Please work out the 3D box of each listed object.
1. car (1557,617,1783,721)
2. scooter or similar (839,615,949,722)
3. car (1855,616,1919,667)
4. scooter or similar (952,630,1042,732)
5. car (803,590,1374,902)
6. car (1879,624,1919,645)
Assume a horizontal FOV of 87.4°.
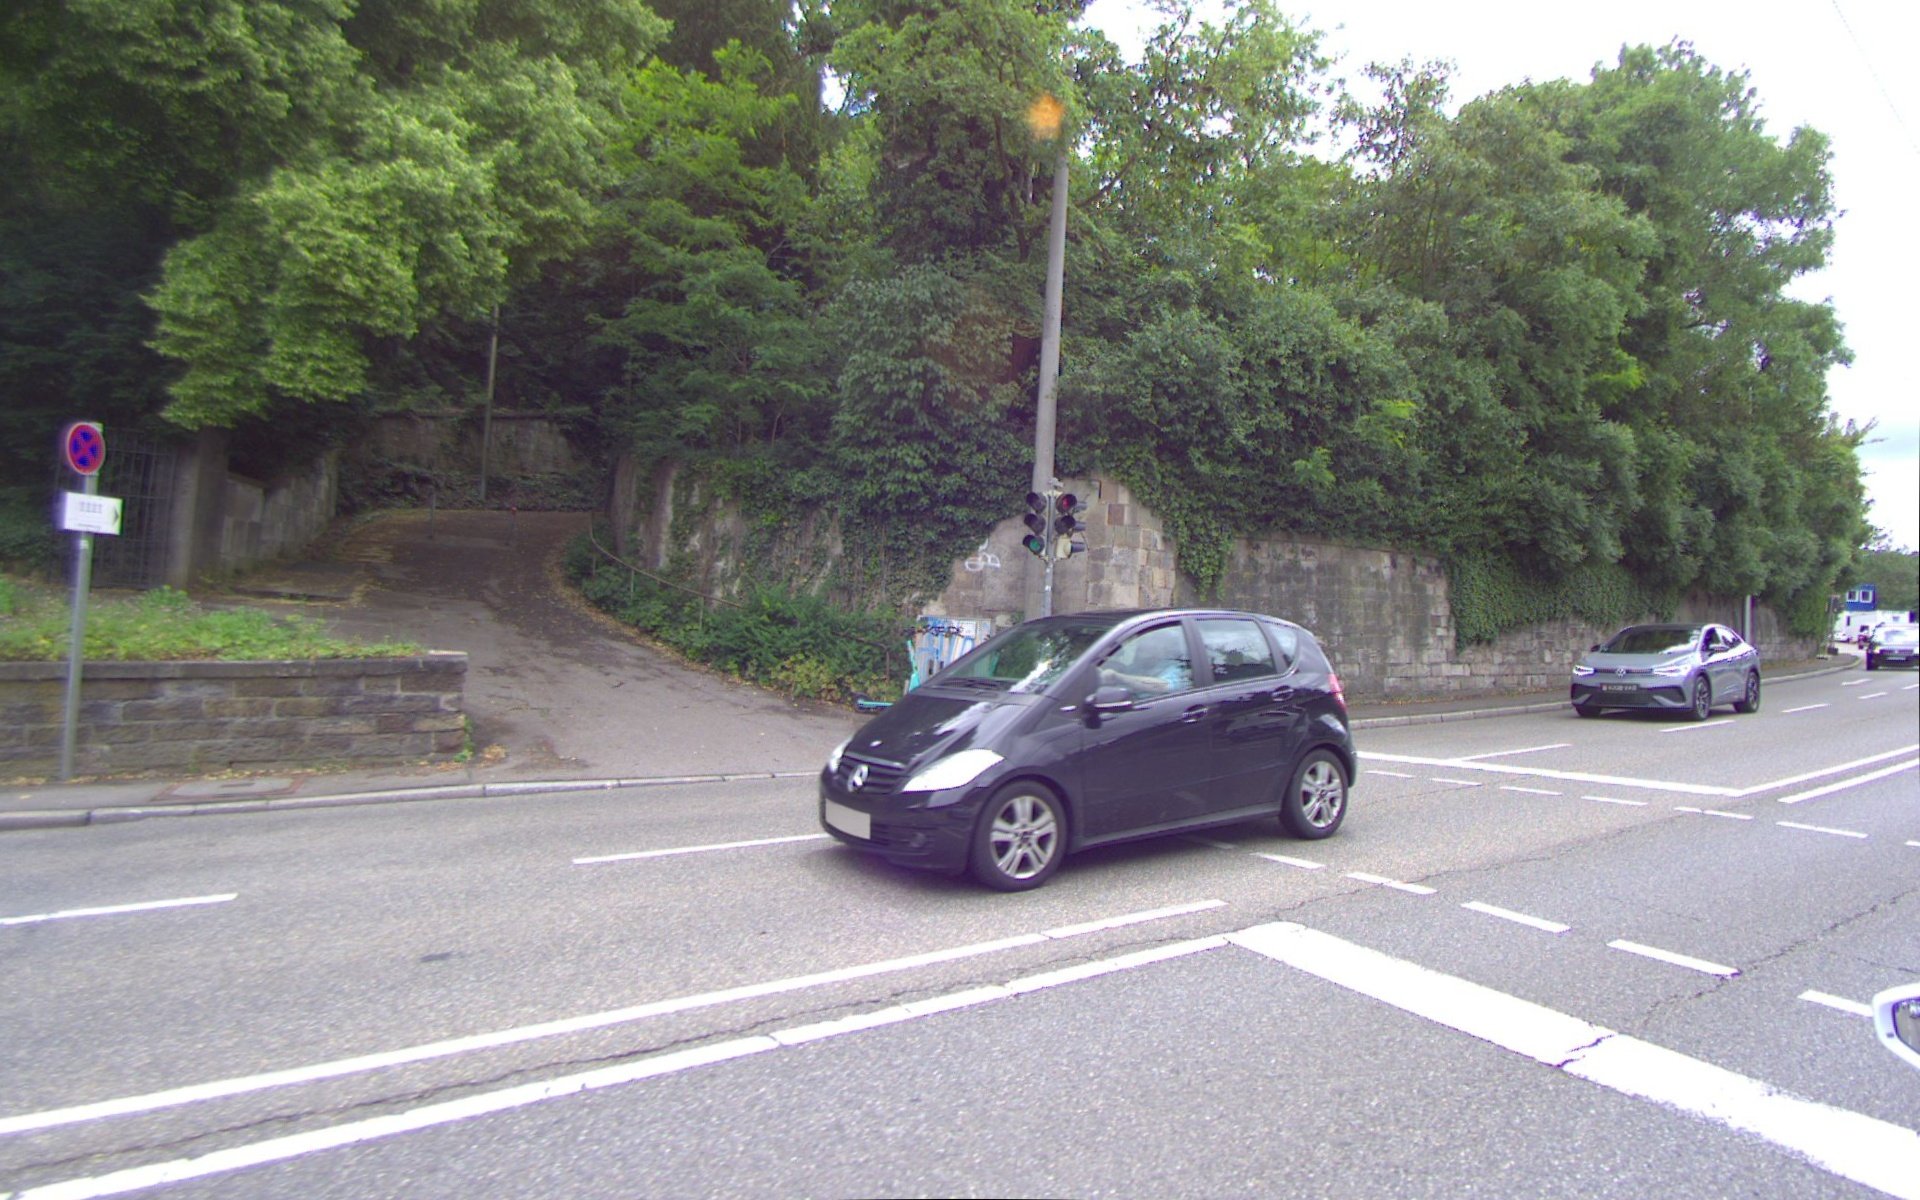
[{"bbox_3d":[12.682,1.173,17.868,4.434,1.629,1.980,2,-3,-37],"label":"car"},{"bbox_3d":[-0.913,0.940,13.985,1.323,1.253,0.434,8,3,8],"label":"scooter or similar"},{"bbox_3d":[36.265,1.602,38.768,4.210,1.870,1.731,1,-3,-37],"label":"car"},{"bbox_3d":[0.506,1.089,13.700,1.076,1.254,0.434,4,2,15],"label":"scooter or similar"},{"bbox_3d":[0.953,0.815,6.883,3.640,1.587,1.744,1,-3,-33],"label":"car"},{"bbox_3d":[79.093,2.888,84.448,1.813,1.722,3.994,0,-1,29],"label":"car"}]
